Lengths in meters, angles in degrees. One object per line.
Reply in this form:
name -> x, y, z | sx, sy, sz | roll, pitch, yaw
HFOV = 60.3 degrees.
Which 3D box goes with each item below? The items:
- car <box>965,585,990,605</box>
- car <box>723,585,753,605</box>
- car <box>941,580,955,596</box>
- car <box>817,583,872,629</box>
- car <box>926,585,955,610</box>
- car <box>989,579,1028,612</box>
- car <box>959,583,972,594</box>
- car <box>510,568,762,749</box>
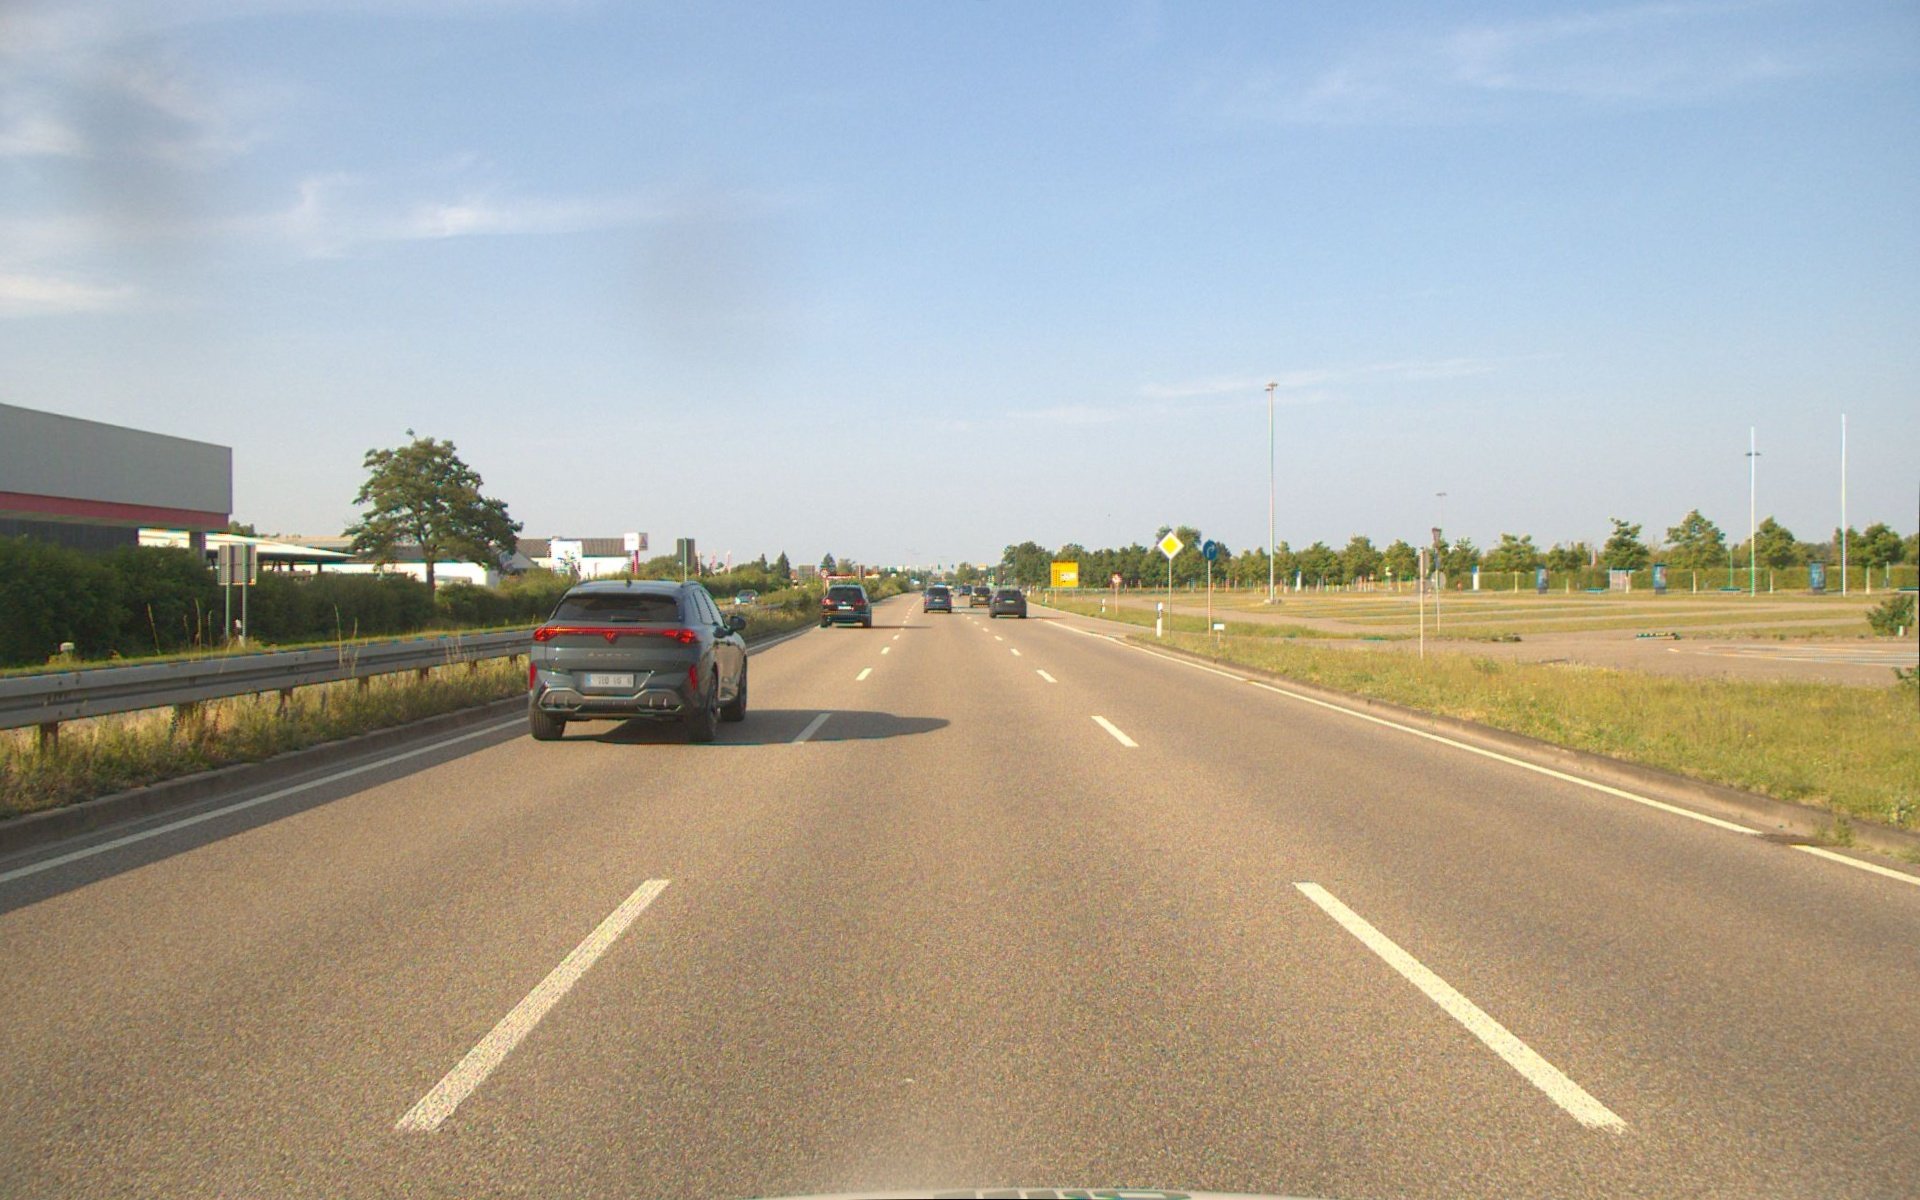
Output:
car -> 1.381, -0.438, 130.576 | 1.835, 1.488, 3.980 | 2, 1, -1
car -> -17.059, -0.404, 127.120 | 1.743, 1.449, 4.000 | -1, 0, 0
car -> -1.358, -1.335, 189.592 | 1.612, 1.758, 3.400 | 1, 0, -1
car -> -4.589, 0.216, 66.486 | 1.893, 1.709, 4.400 | 2, 1, -1
car -> -1.247, -0.169, 104.999 | 1.776, 1.488, 4.400 | 2, 1, -1
car -> 2.646, -0.267, 91.130 | 1.893, 1.709, 4.400 | 2, 1, -1
car -> 0.703, -1.424, 204.833 | 1.472, 1.336, 3.156 | 2, 1, -1
car -> -3.295, 0.525, 17.680 | 1.808, 1.640, 4.400 | 2, 1, -1
